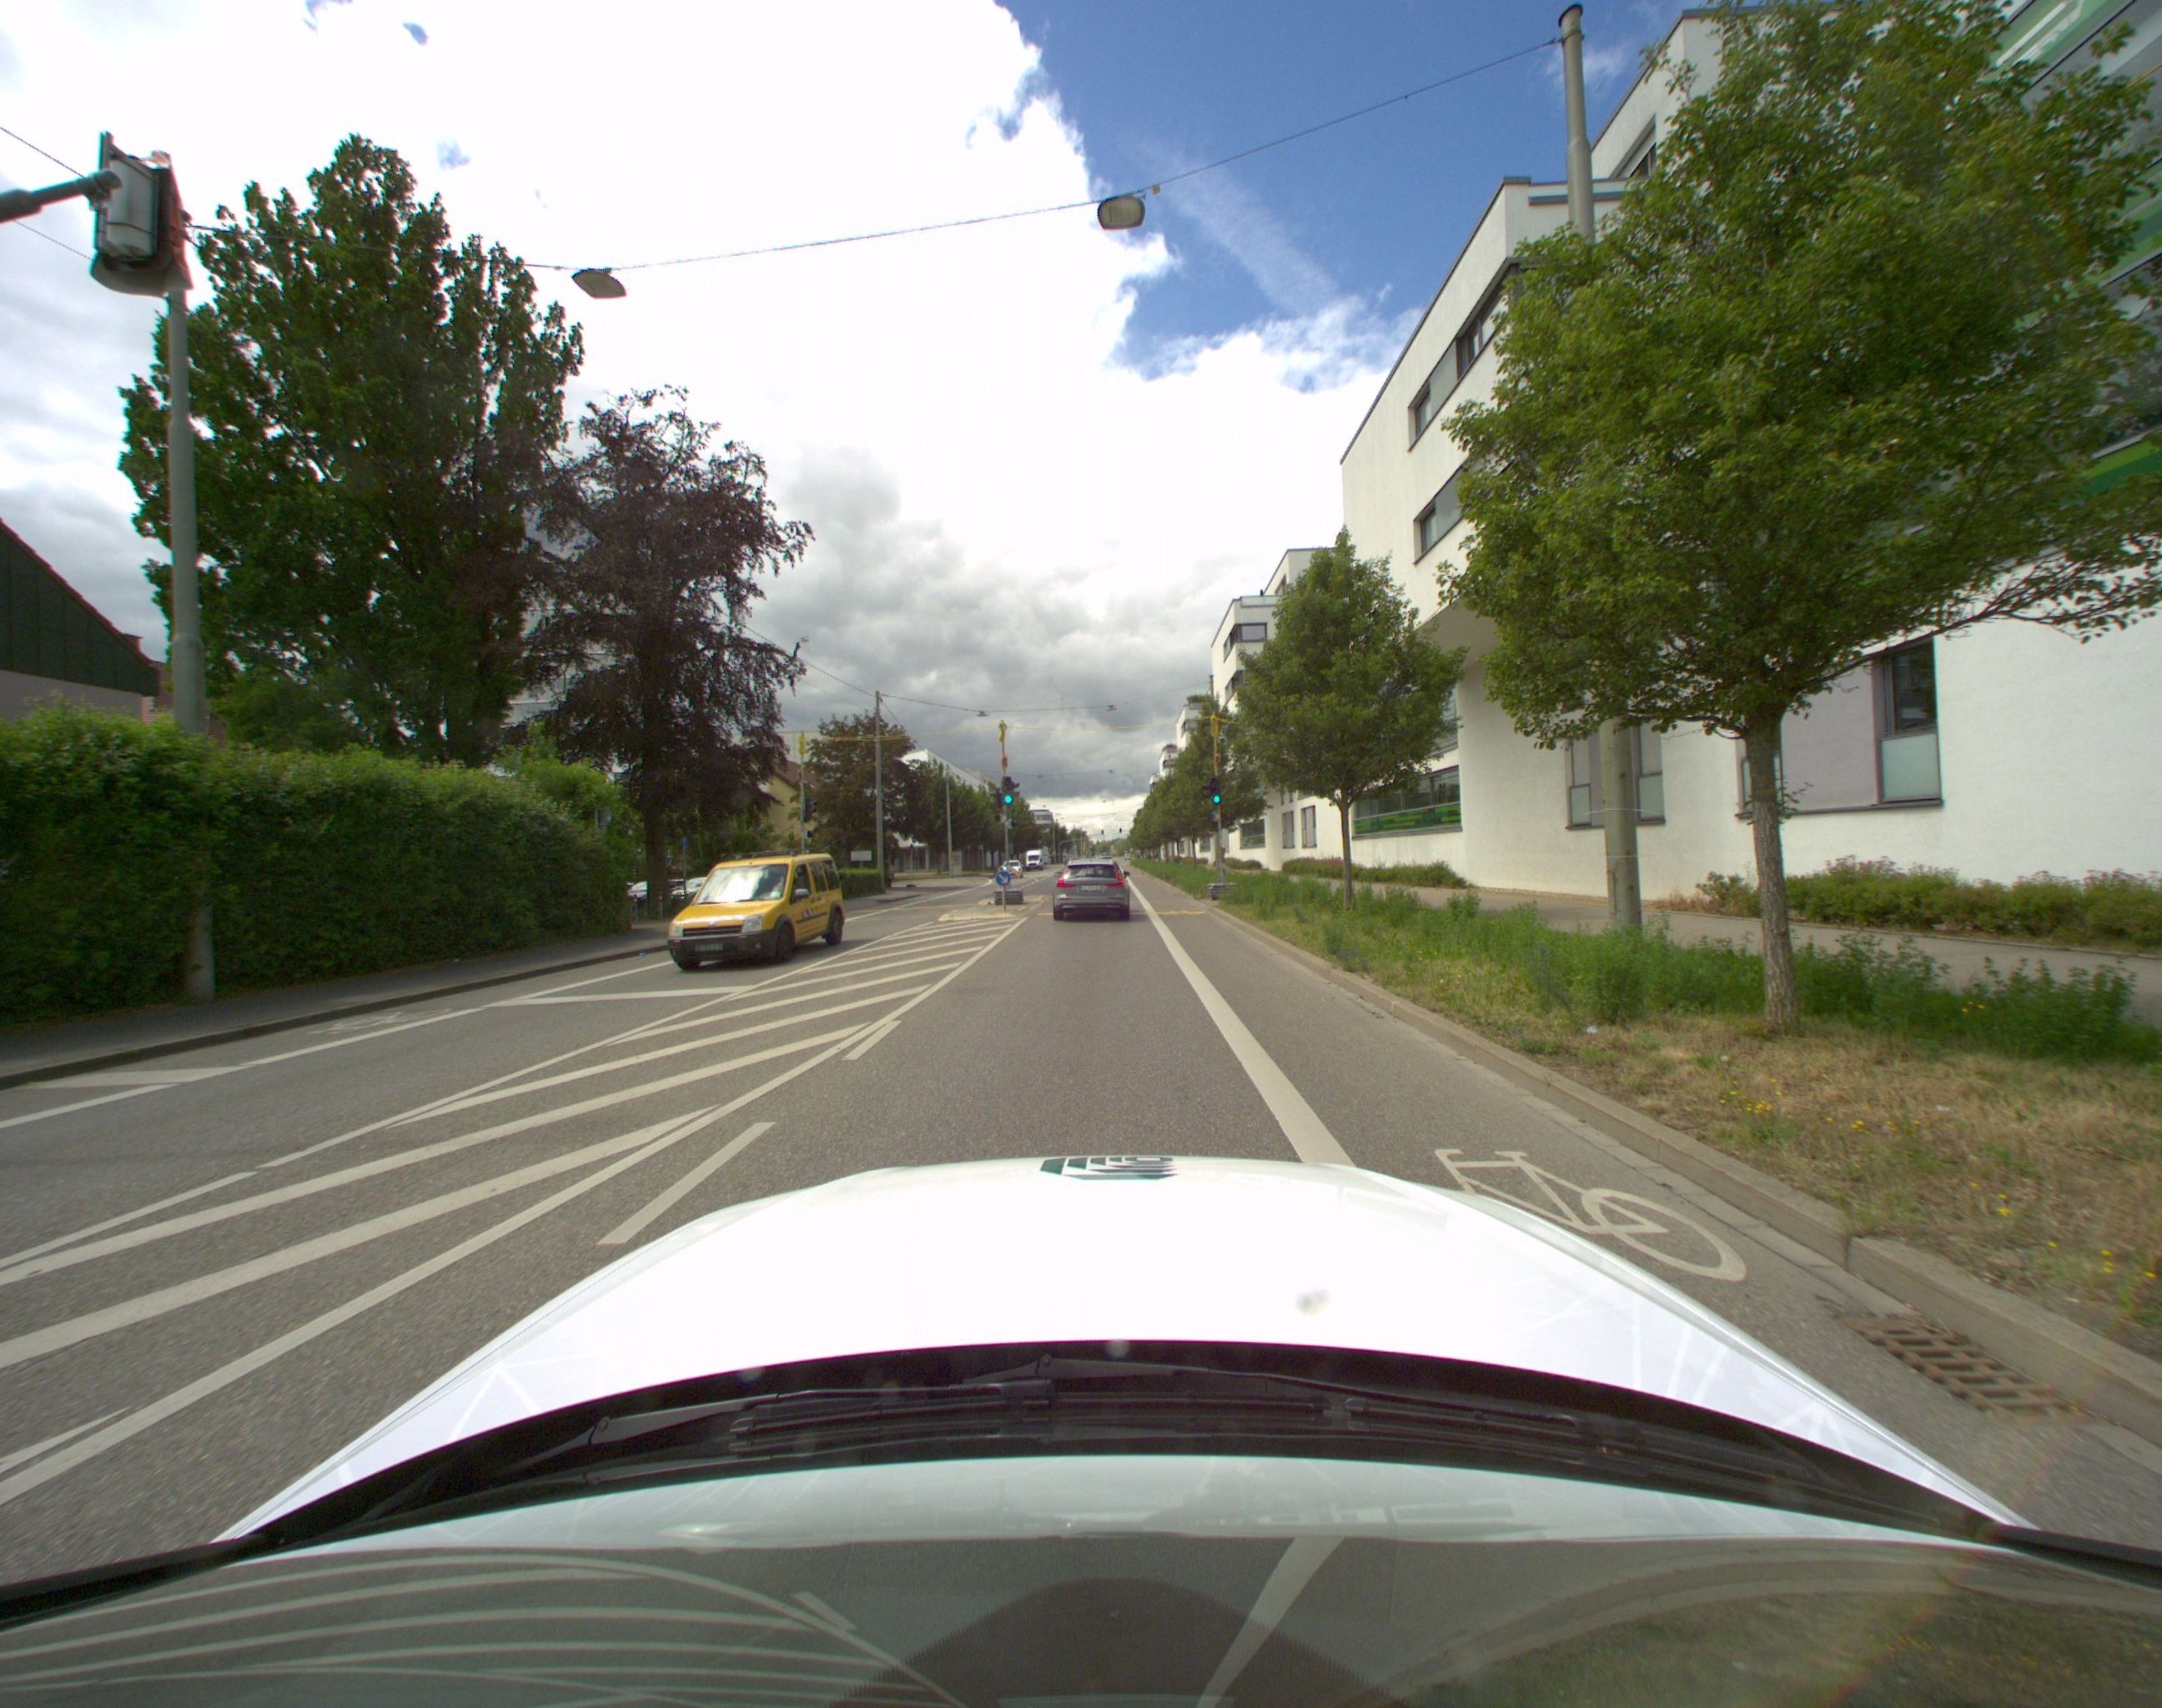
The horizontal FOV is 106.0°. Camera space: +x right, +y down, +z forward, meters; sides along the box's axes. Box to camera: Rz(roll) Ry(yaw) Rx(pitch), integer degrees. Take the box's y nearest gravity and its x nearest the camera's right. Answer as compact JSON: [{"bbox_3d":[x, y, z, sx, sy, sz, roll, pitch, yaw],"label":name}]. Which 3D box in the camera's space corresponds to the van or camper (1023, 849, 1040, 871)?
[{"bbox_3d":[-6.518,0.744,107.507,1.989,2.734,6.047,-3,0,-2],"label":"van or camper"}]

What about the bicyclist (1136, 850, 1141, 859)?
[{"bbox_3d":[12.331,0.080,174.951,1.010,2.013,1.131,-3,0,1],"label":"bicyclist"}]

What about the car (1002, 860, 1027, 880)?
[{"bbox_3d":[-5.524,1.303,68.046,1.655,1.515,4.002,-2,0,2],"label":"car"}]

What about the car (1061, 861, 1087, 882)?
[{"bbox_3d":[-0.493,1.358,63.557,1.848,1.513,4.001,-1,0,1],"label":"car"}]

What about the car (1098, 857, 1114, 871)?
[{"bbox_3d":[2.854,1.097,93.328,1.838,1.513,4.001,-1,0,1],"label":"car"}]

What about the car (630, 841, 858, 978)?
[{"bbox_3d":[-5.575,0.813,14.263,1.834,1.904,4.687,-3,0,2],"label":"car"}]

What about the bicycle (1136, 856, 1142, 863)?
[{"bbox_3d":[12.426,1.108,174.966,1.063,1.453,2.978,-3,0,1],"label":"bicycle"}]

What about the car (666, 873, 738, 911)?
[{"bbox_3d":[-17.375,1.724,37.510,1.656,1.515,3.435,-2,0,0],"label":"car"}]

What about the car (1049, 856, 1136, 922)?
[{"bbox_3d":[0.398,0.821,20.776,1.845,1.513,4.007,0,0,6],"label":"car"}]

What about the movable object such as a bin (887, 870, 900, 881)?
[{"bbox_3d":[-16.425,1.896,71.325,0.742,0.941,1.001,-4,0,8],"label":"movable object such as a bin"}]
